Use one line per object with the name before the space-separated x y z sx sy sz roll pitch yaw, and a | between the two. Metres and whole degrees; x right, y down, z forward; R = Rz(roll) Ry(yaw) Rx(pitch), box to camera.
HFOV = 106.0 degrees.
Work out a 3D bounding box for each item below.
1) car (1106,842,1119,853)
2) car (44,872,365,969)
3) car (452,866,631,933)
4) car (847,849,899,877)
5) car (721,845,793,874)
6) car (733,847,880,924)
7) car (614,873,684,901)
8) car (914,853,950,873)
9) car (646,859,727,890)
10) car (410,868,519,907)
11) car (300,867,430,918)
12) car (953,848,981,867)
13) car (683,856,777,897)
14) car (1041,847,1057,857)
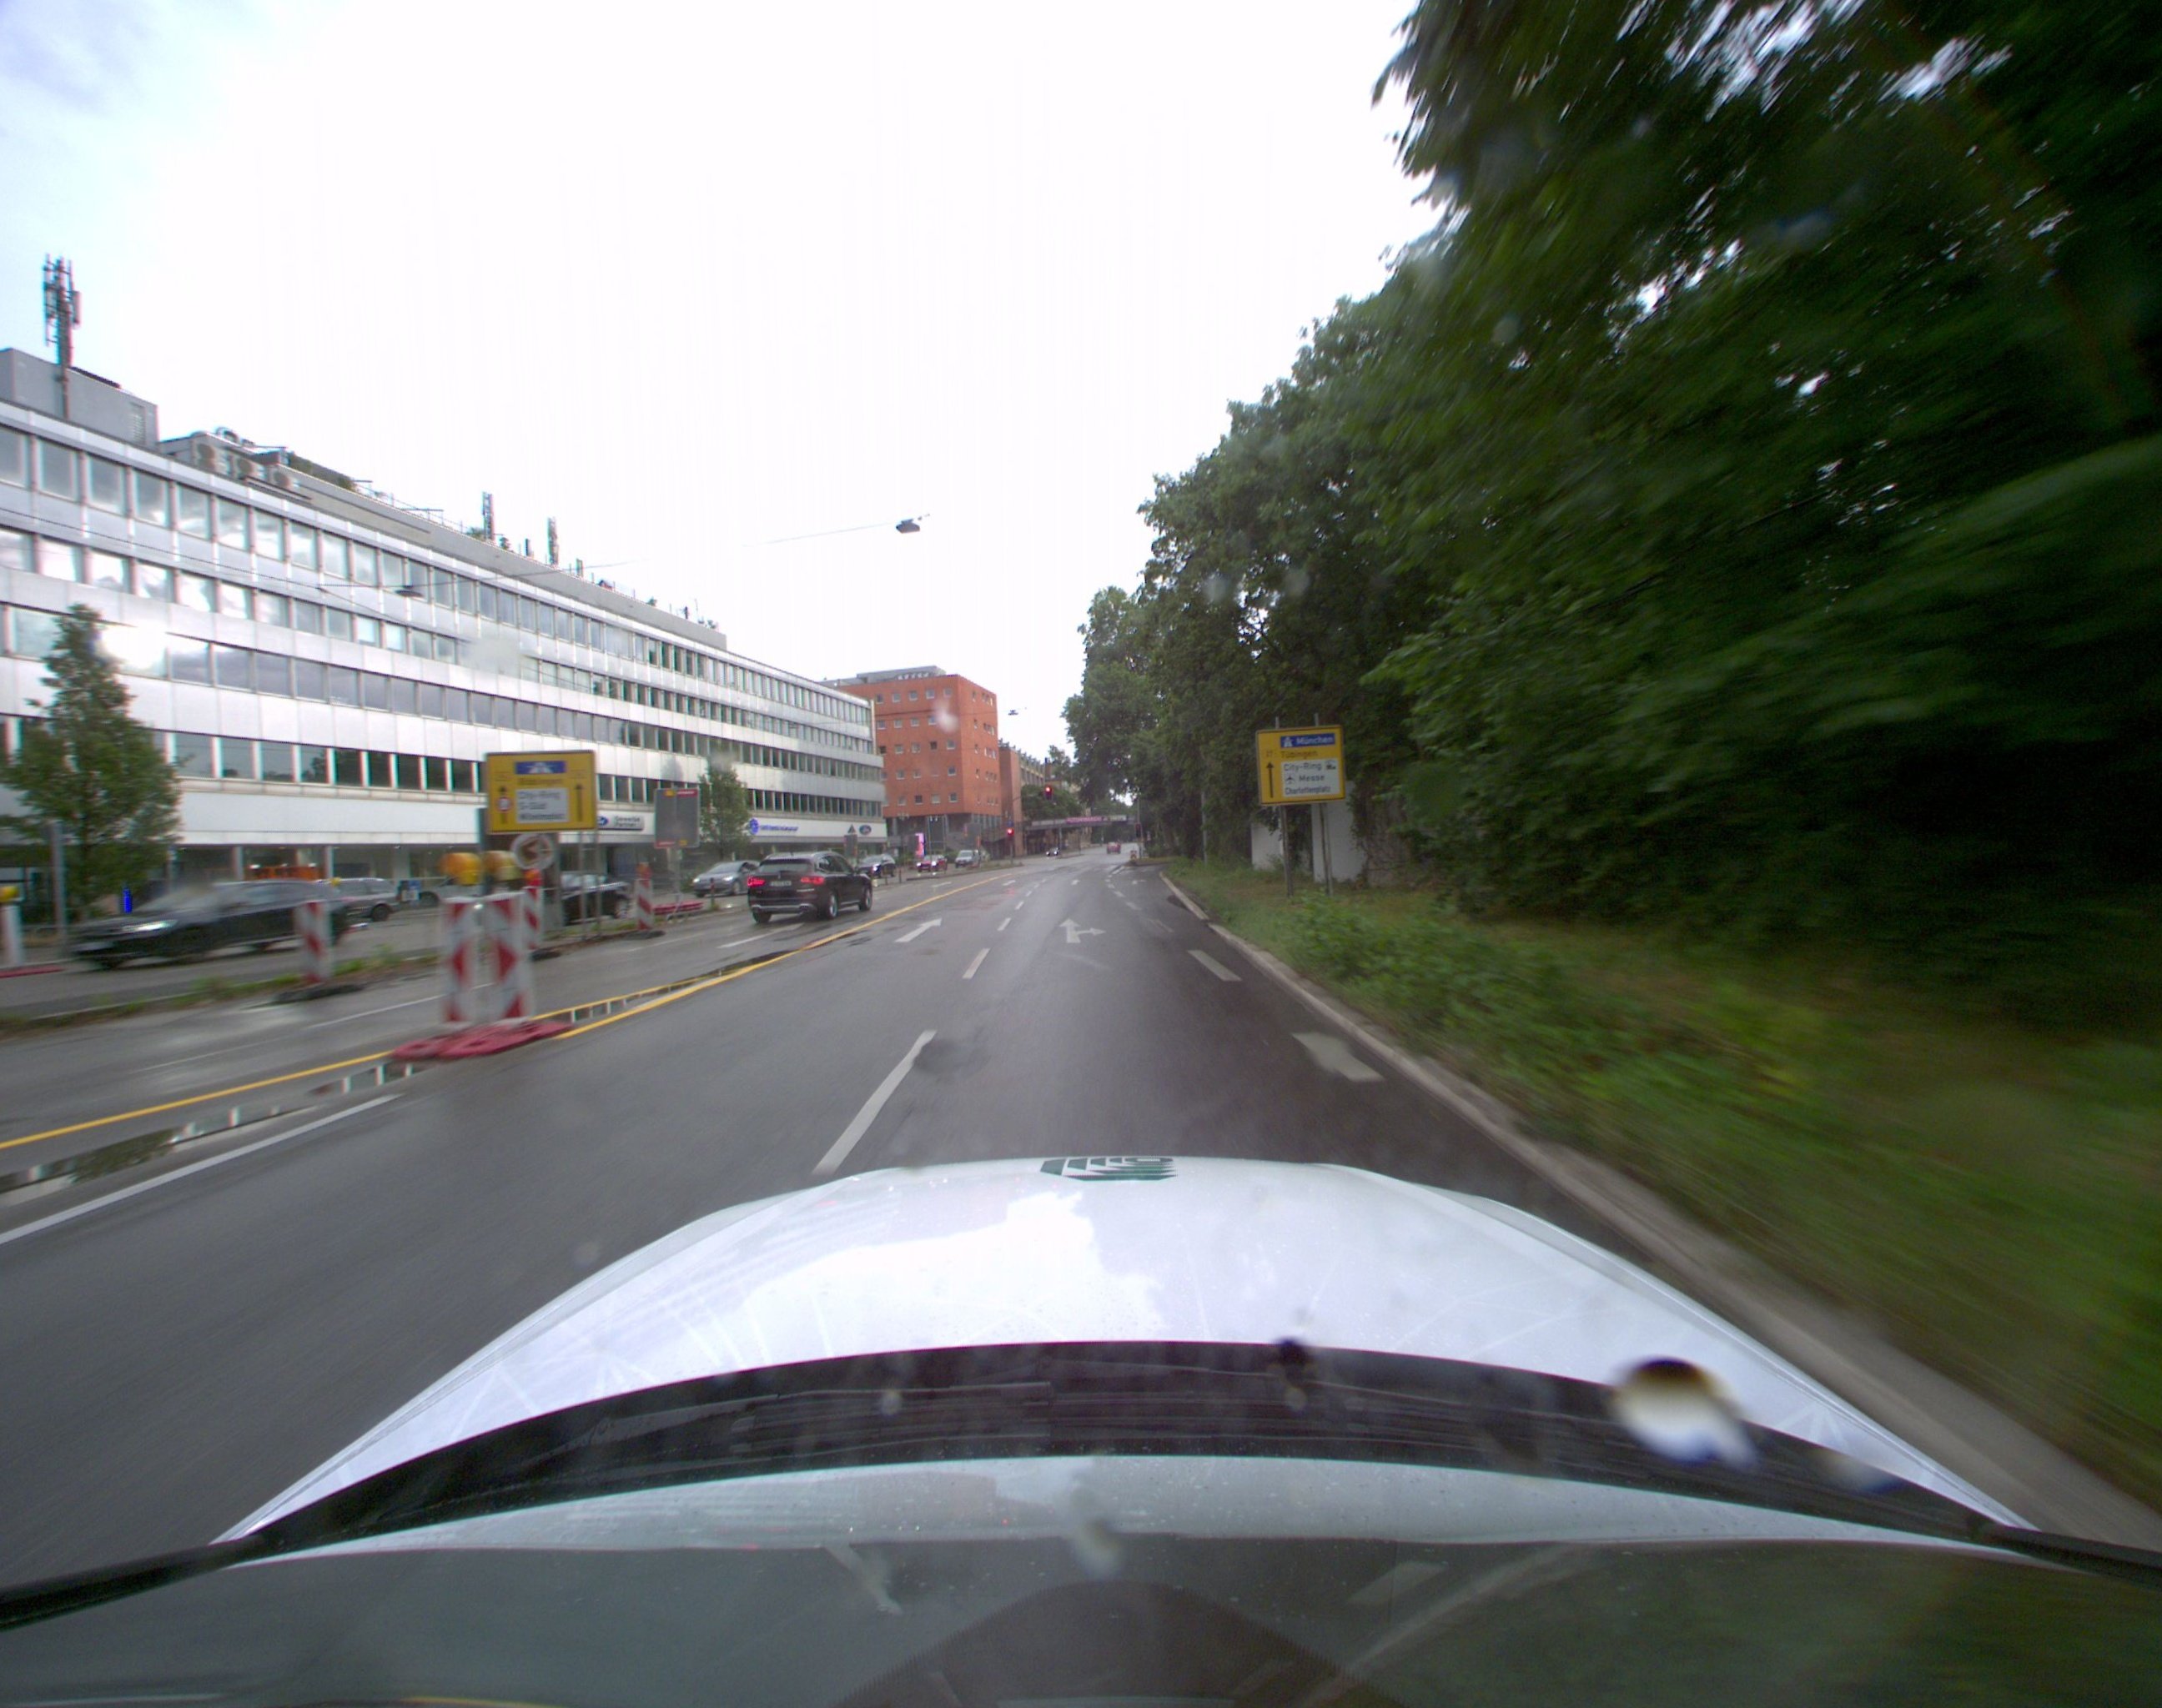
car | 5.105 -1.073 131.275 2.112 1.734 4.201 -1 2 2
car | -17.136 1.217 16.267 1.742 1.513 4.010 -4 0 8
car | -13.552 1.072 20.803 1.683 1.354 4.115 -4 0 1
car | -14.370 0.614 56.501 1.835 1.737 4.614 -3 0 7
car | -26.752 0.446 67.247 5.222 2.011 1.980 -4 0 -30
car | -6.739 0.697 20.625 1.940 1.597 4.673 -1 2 2
car | -29.494 2.236 55.734 4.006 1.574 1.984 -4 0 -24
car | -13.039 0.770 71.475 1.820 1.502 4.381 -4 0 6
car | -29.298 1.498 60.548 5.014 1.897 1.977 -4 0 -39
car | -32.837 1.758 43.572 4.401 1.651 1.836 -4 0 -32
car | -33.536 1.771 38.304 4.000 2.013 1.987 -4 0 -19
car | -11.563 0.307 83.037 1.725 1.786 4.308 -4 0 6
car | -15.410 0.932 36.008 1.798 1.558 4.310 -3 0 7
car | -5.364 -0.313 136.641 1.984 1.519 4.006 -3 0 5
